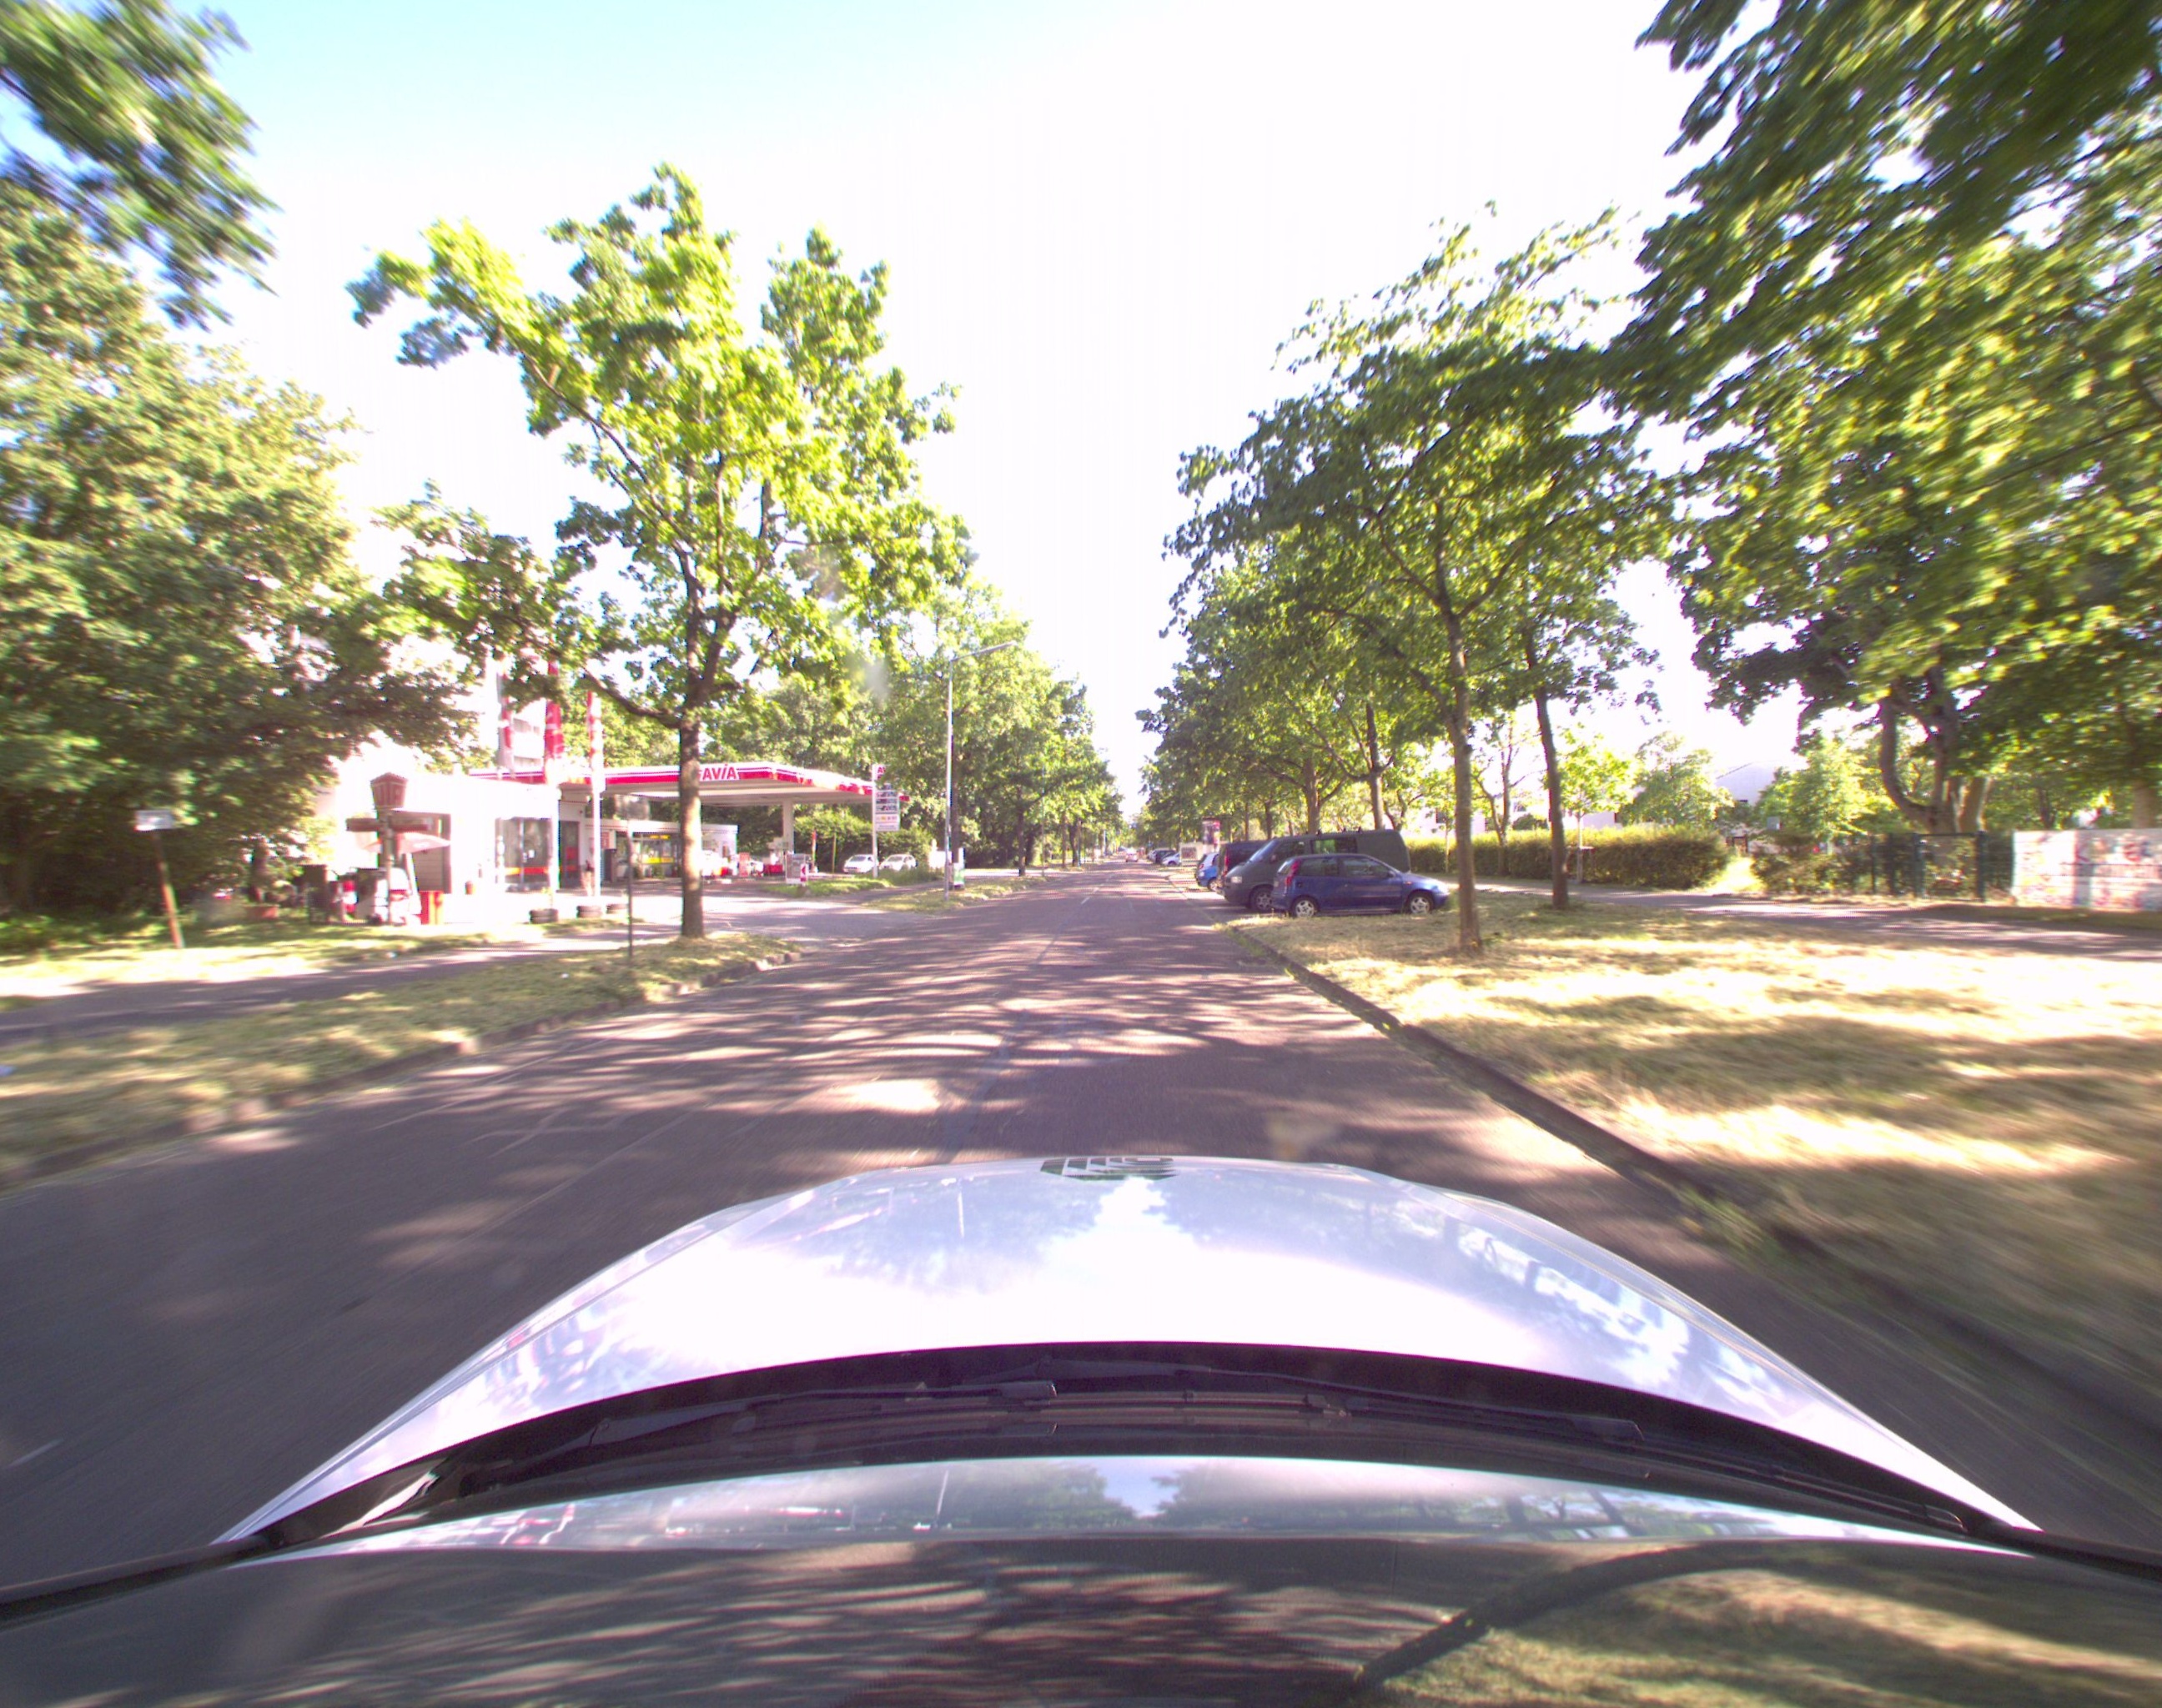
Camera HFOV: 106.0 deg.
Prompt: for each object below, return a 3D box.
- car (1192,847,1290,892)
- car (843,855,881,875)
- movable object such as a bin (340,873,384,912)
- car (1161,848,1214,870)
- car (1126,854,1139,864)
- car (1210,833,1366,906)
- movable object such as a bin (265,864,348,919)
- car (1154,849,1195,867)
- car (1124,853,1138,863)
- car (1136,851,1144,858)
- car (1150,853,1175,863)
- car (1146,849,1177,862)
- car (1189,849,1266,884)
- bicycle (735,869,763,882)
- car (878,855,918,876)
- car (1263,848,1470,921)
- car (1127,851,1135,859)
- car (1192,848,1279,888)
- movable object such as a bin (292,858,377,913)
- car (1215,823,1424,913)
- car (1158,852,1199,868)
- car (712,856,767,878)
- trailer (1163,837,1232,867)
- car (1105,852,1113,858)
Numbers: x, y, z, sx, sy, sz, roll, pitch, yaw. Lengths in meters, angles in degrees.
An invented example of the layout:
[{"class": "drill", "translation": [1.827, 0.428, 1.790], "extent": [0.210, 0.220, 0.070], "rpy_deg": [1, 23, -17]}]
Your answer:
[{"class": "car", "translation": [6.100, 0.599, 31.421], "extent": [3.504, 1.532, 1.667], "rpy_deg": [-3, -1, 5]}, {"class": "car", "translation": [-16.046, 0.806, 59.805], "extent": [1.413, 1.367, 3.215], "rpy_deg": [1, 0, 12]}, {"class": "movable object such as a bin", "translation": [-20.942, 1.118, 23.744], "extent": [0.566, 1.085, 0.769], "rpy_deg": [-1, 0, 4]}, {"class": "car", "translation": [9.533, 0.461, 73.315], "extent": [4.621, 1.722, 1.990], "rpy_deg": [-3, 0, 4]}, {"class": "car", "translation": [8.782, 0.810, 138.637], "extent": [1.987, 1.655, 4.000], "rpy_deg": [-1, 0, 1]}, {"class": "car", "translation": [5.885, 0.439, 23.477], "extent": [3.995, 1.837, 1.799], "rpy_deg": [-3, -1, 0]}, {"class": "movable object such as a bin", "translation": [-22.666, 1.073, 23.857], "extent": [1.298, 1.542, 1.165], "rpy_deg": [0, 0, 4]}, {"class": "car", "translation": [10.592, 0.467, 92.934], "extent": [4.510, 1.801, 1.938], "rpy_deg": [-2, 0, 3]}, {"class": "car", "translation": [7.597, 0.548, 124.766], "extent": [1.986, 1.484, 4.002], "rpy_deg": [-1, 0, 2]}, {"class": "car", "translation": [15.791, 0.098, 217.128], "extent": [1.985, 1.716, 4.003], "rpy_deg": [0, 0, 3]}, {"class": "car", "translation": [13.237, 0.627, 132.512], "extent": [3.968, 1.433, 1.903], "rpy_deg": [-1, 0, 5]}, {"class": "car", "translation": [13.765, 0.224, 140.280], "extent": [5.167, 2.105, 2.083], "rpy_deg": [-1, 0, 2]}, {"class": "car", "translation": [7.339, 0.611, 40.986], "extent": [3.569, 1.576, 1.858], "rpy_deg": [-3, 0, 2]}, {"class": "bicycle", "translation": [-21.491, 1.397, 52.772], "extent": [0.612, 0.807, 1.788], "rpy_deg": [-1, 0, 18]}, {"class": "car", "translation": [-13.422, 0.811, 59.766], "extent": [1.536, 1.422, 3.498], "rpy_deg": [1, 0, 12]}, {"class": "car", "translation": [6.203, 0.654, 18.047], "extent": [3.972, 1.403, 1.741], "rpy_deg": [-2, 0, 3]}, {"class": "car", "translation": [12.026, 0.335, 196.409], "extent": [1.985, 1.933, 4.003], "rpy_deg": [0, 0, 3]}, {"class": "car", "translation": [6.783, 0.591, 36.007], "extent": [3.566, 1.576, 1.789], "rpy_deg": [-3, 0, 5]}, {"class": "movable object such as a bin", "translation": [-21.880, 0.896, 23.897], "extent": [1.298, 1.542, 1.269], "rpy_deg": [-1, 0, 4]}, {"class": "car", "translation": [5.981, 0.357, 20.914], "extent": [4.783, 2.032, 1.945], "rpy_deg": [-2, 0, 3]}, {"class": "car", "translation": [10.256, 0.623, 86.163], "extent": [4.225, 1.519, 2.081], "rpy_deg": [-2, 0, 4]}, {"class": "car", "translation": [-24.147, 0.905, 57.587], "extent": [3.174, 1.400, 1.590], "rpy_deg": [1, 0, 11]}, {"class": "trailer", "translation": [10.069, -0.174, 70.499], "extent": [5.746, 2.317, 1.688], "rpy_deg": [-3, 0, 5]}, {"class": "car", "translation": [7.700, 0.350, 223.679], "extent": [1.985, 1.716, 4.003], "rpy_deg": [0, 0, 3]}]
